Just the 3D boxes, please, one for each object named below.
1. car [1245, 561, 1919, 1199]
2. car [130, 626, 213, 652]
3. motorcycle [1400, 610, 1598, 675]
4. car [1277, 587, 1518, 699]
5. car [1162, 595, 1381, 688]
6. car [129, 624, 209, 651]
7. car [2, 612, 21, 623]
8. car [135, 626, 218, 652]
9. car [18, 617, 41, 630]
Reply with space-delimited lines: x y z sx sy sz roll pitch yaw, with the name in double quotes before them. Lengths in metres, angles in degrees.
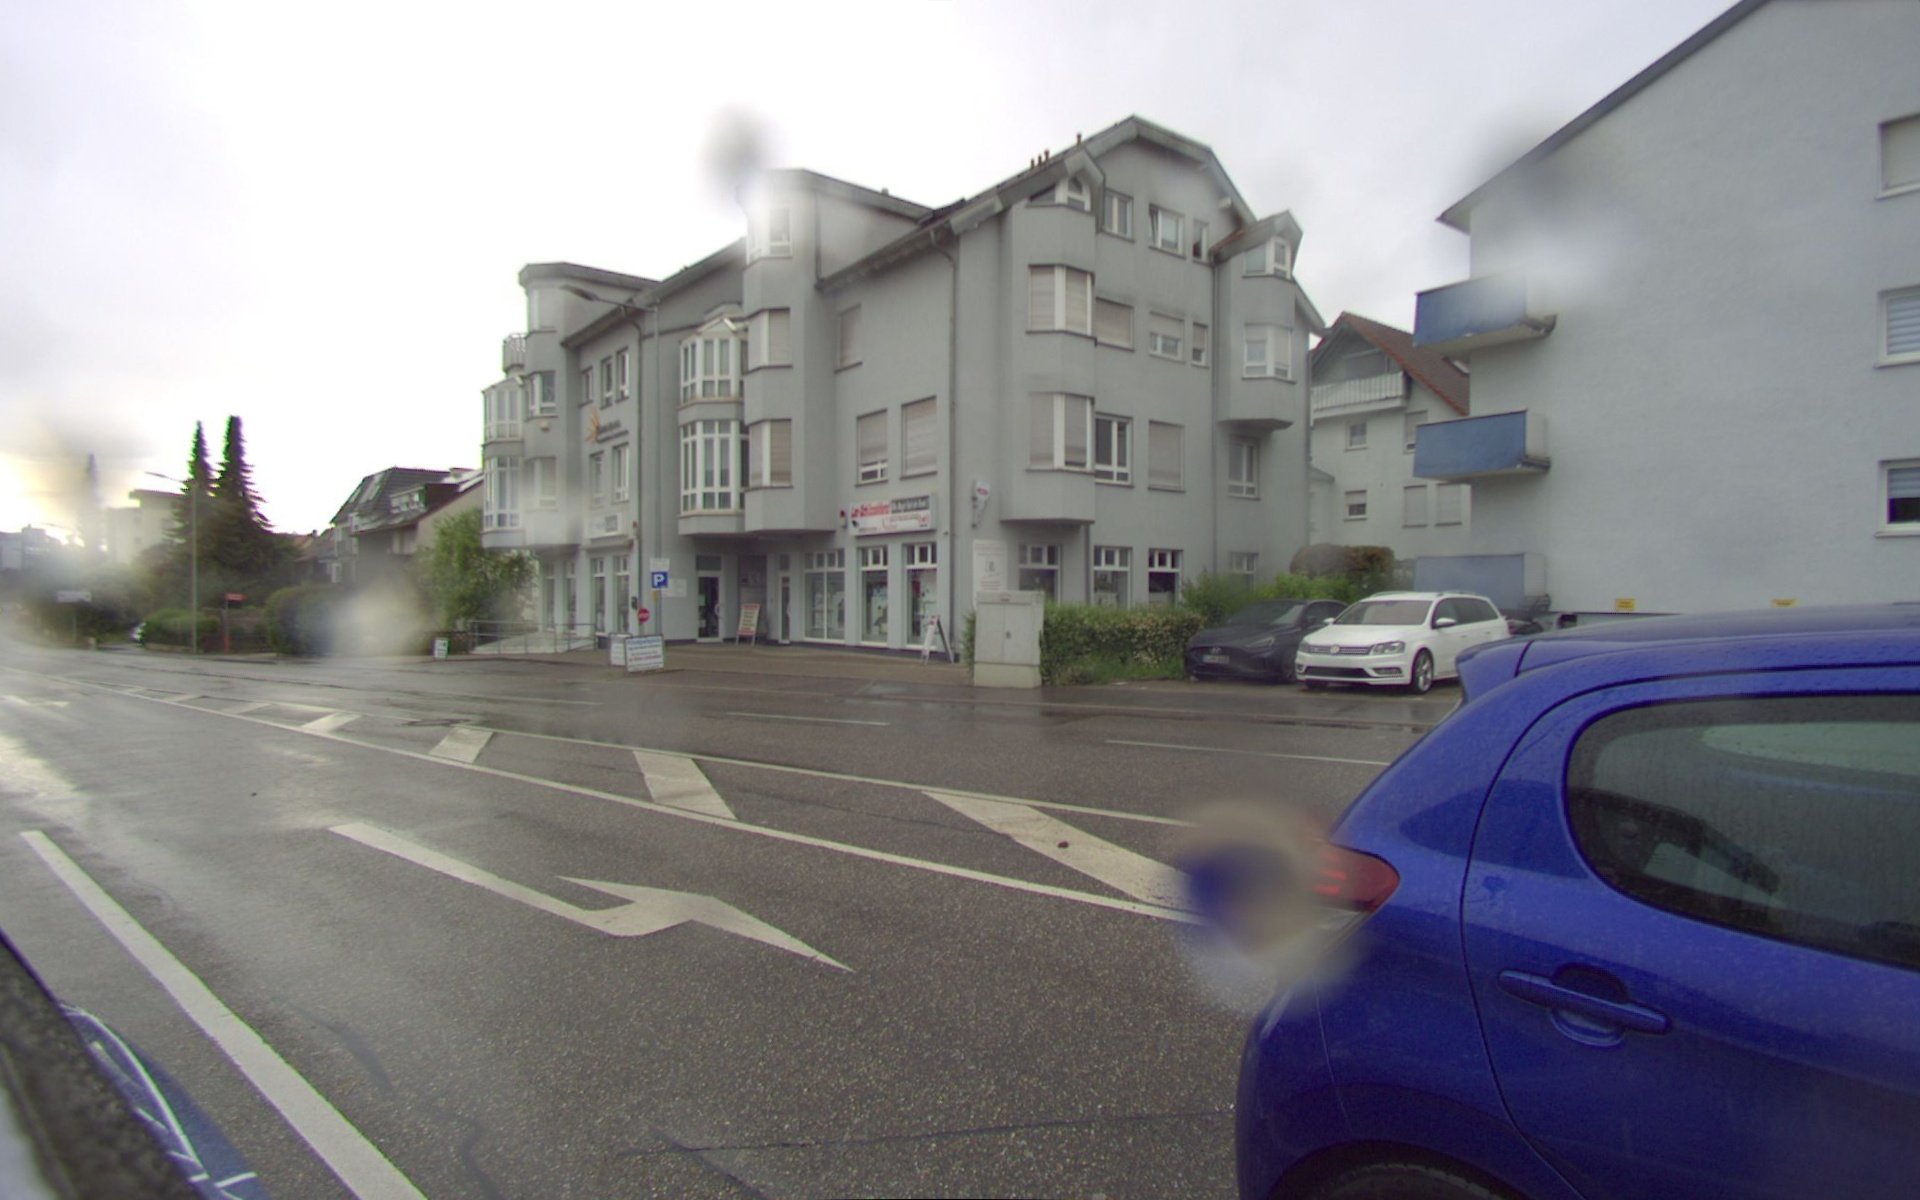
"car" 2.240 0.633 1.243 3.269 1.421 1.562 -2 0 42
"car" -51.351 2.508 65.938 4.096 1.453 1.892 -2 0 -42
"motorcycle" 9.770 0.778 18.541 3.112 1.108 0.869 -2 -1 25
"car" 6.848 0.589 15.634 4.169 1.485 1.906 0 -1 -43
"car" 5.472 0.656 17.554 3.940 1.421 1.906 0 -1 -43
"car" -53.146 2.500 68.017 4.058 1.557 2.002 -2 0 -44
"car" -148.747 2.776 158.798 1.824 1.777 4.129 0 -1 -39
"car" -49.618 2.438 64.145 3.978 1.453 1.814 -2 0 -44
"car" -124.438 3.161 135.323 1.968 1.628 4.008 0 -1 -38
